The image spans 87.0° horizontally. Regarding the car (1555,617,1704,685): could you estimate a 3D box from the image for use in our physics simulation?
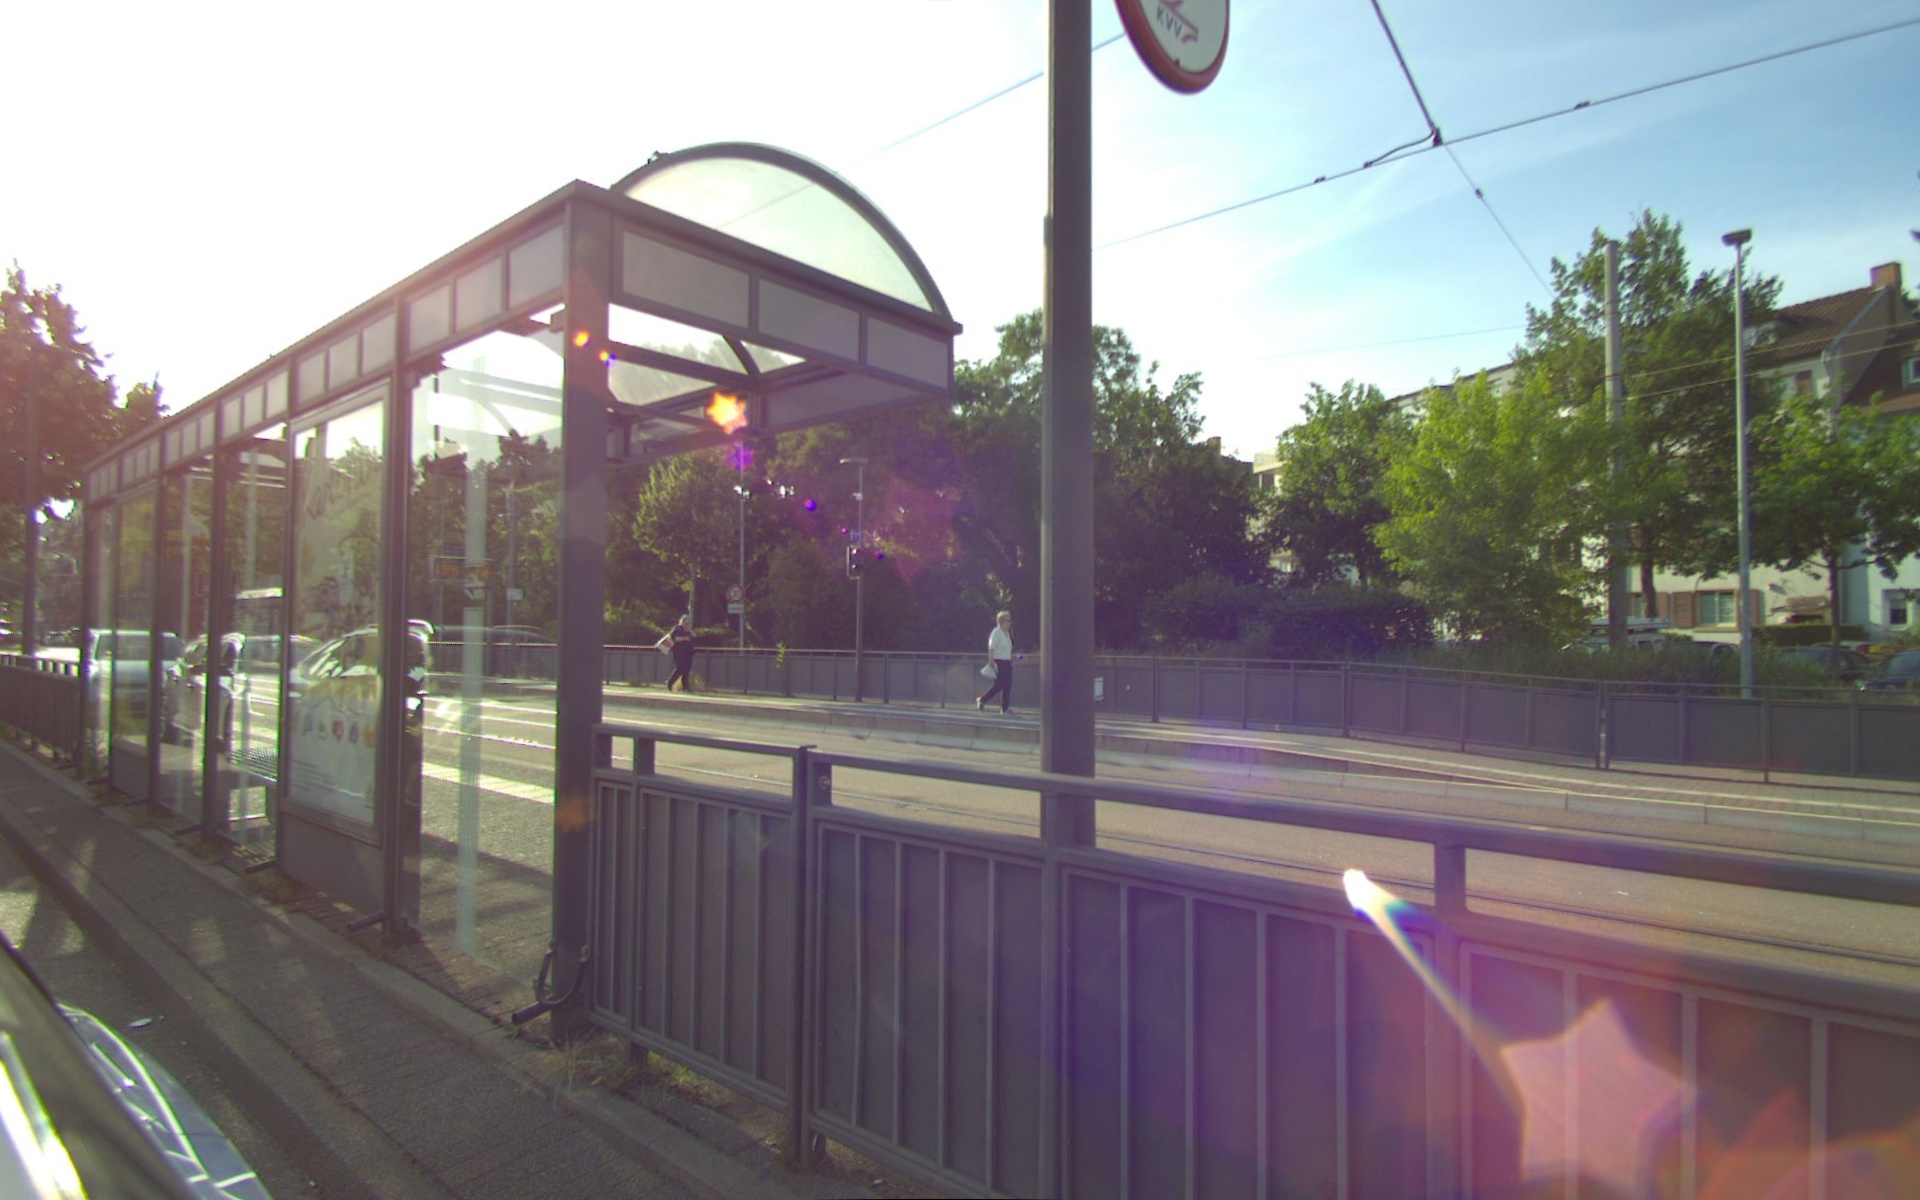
[{"bbox_3d":[18.456,1.398,27.886,3.931,1.767,1.860,2,-3,-30],"label":"car"}]

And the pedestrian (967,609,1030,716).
[{"bbox_3d":[0.611,0.974,16.000,0.727,1.640,0.699,-2,-3,41],"label":"pedestrian"}]

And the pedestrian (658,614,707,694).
[{"bbox_3d":[-5.835,1.122,21.284,0.689,1.640,0.727,-2,-3,41],"label":"pedestrian"}]

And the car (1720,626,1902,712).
[{"bbox_3d":[19.001,1.492,22.567,3.931,1.767,1.860,2,-3,-30],"label":"car"}]

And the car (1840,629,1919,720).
[{"bbox_3d":[20.213,1.498,20.915,3.931,1.767,1.860,2,-3,-30],"label":"car"}]

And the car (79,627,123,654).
[{"bbox_3d":[-66.875,3.145,78.807,3.997,2.029,1.973,-2,-3,41],"label":"car"}]
